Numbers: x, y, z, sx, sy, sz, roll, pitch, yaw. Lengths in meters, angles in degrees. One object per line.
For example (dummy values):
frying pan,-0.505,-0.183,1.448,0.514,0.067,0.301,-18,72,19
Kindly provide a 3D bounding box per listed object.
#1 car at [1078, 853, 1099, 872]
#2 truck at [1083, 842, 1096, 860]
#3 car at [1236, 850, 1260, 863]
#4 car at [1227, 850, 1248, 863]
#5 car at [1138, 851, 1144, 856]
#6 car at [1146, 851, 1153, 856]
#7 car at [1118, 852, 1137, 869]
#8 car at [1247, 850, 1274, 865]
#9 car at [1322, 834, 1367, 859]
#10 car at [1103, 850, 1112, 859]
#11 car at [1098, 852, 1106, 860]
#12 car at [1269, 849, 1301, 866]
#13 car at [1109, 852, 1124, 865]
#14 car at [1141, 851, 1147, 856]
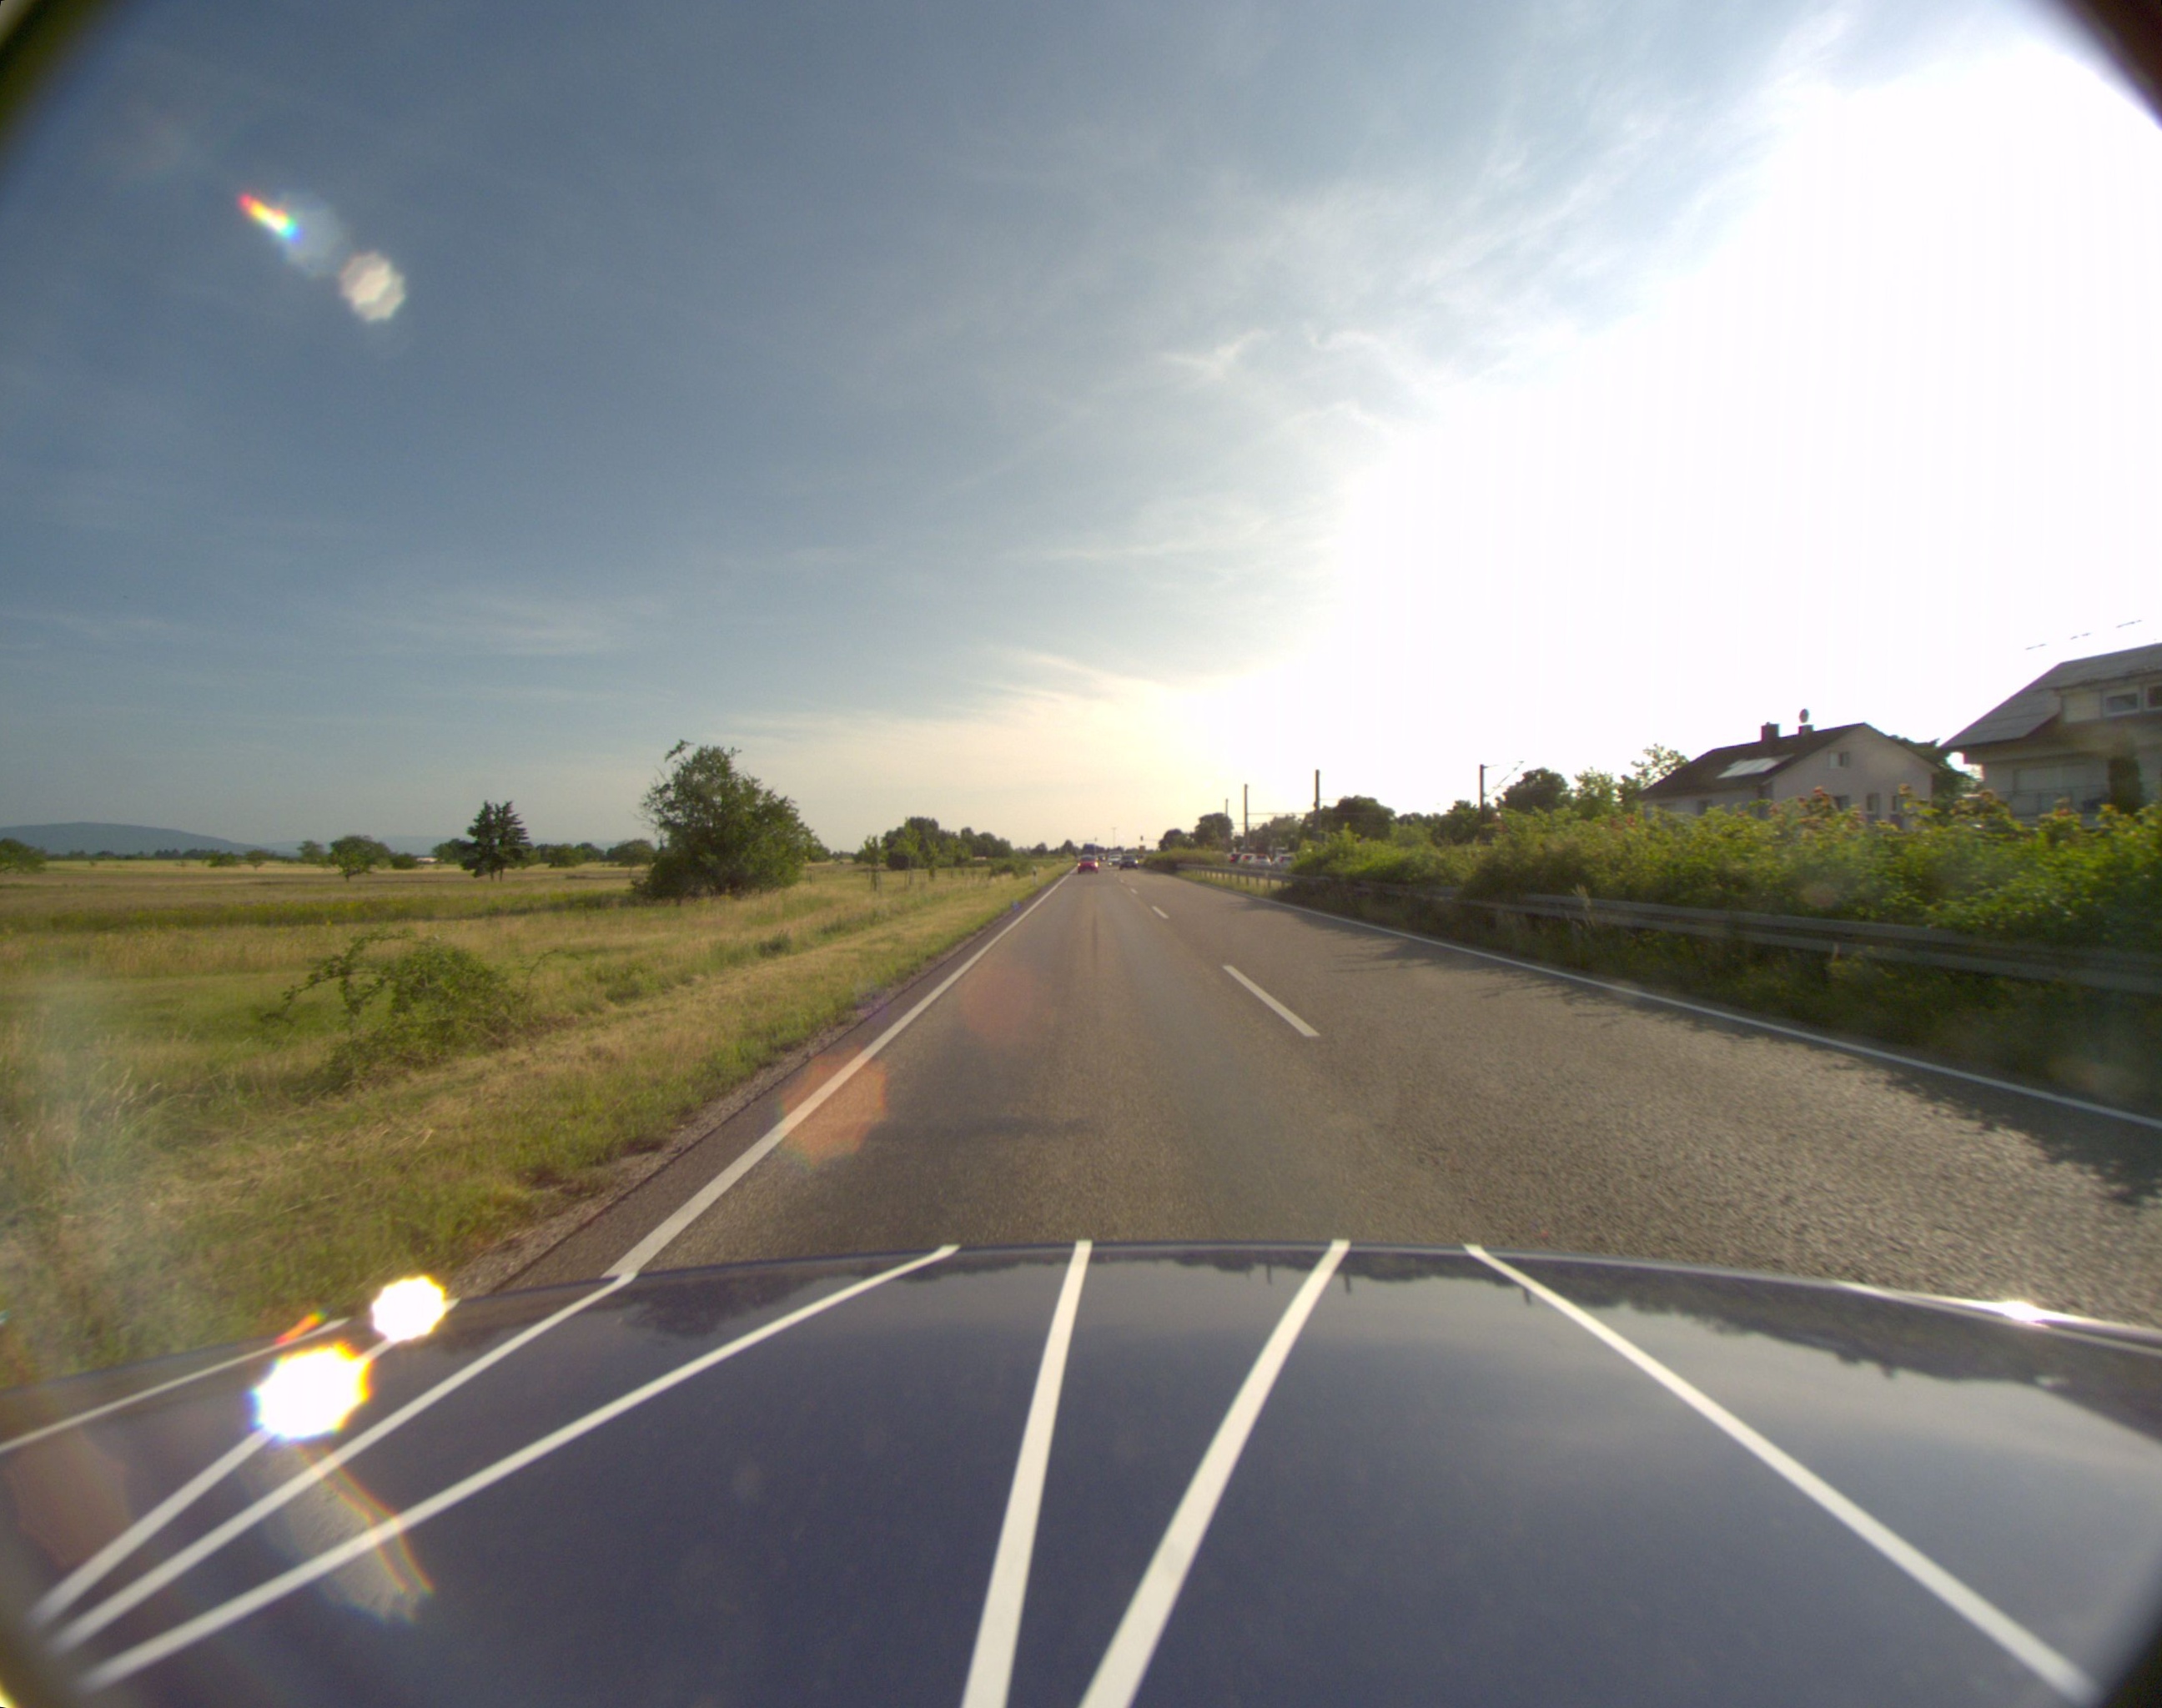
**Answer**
car,0.657,0.679,64.634,1.735,1.467,4.000,-2,0,1
truck,2.006,-0.761,172.843,2.849,3.896,10.104,-2,0,1
car,17.885,0.266,81.601,1.733,1.358,3.622,2,0,1
car,17.854,0.252,86.840,1.733,1.358,3.622,2,0,1
car,19.897,-0.183,252.065,1.664,1.373,4.000,1,0,1
car,19.408,-0.114,215.031,1.664,1.407,4.975,1,0,1
car,4.525,0.622,73.929,1.636,1.500,4.000,-2,0,1
car,17.554,0.300,74.350,1.733,1.358,3.622,2,0,1
car,19.942,-0.548,57.650,1.998,1.739,4.000,-2,0,1
car,5.882,0.091,169.000,1.998,2.002,4.000,-2,0,1
car,4.179,0.355,152.062,1.636,1.442,4.000,-2,0,1
car,17.721,0.316,66.123,1.733,1.358,3.622,2,0,1
car,4.471,0.565,96.266,1.636,1.442,4.000,-2,0,1
car,19.329,-0.174,232.877,1.664,1.373,4.468,1,0,1
